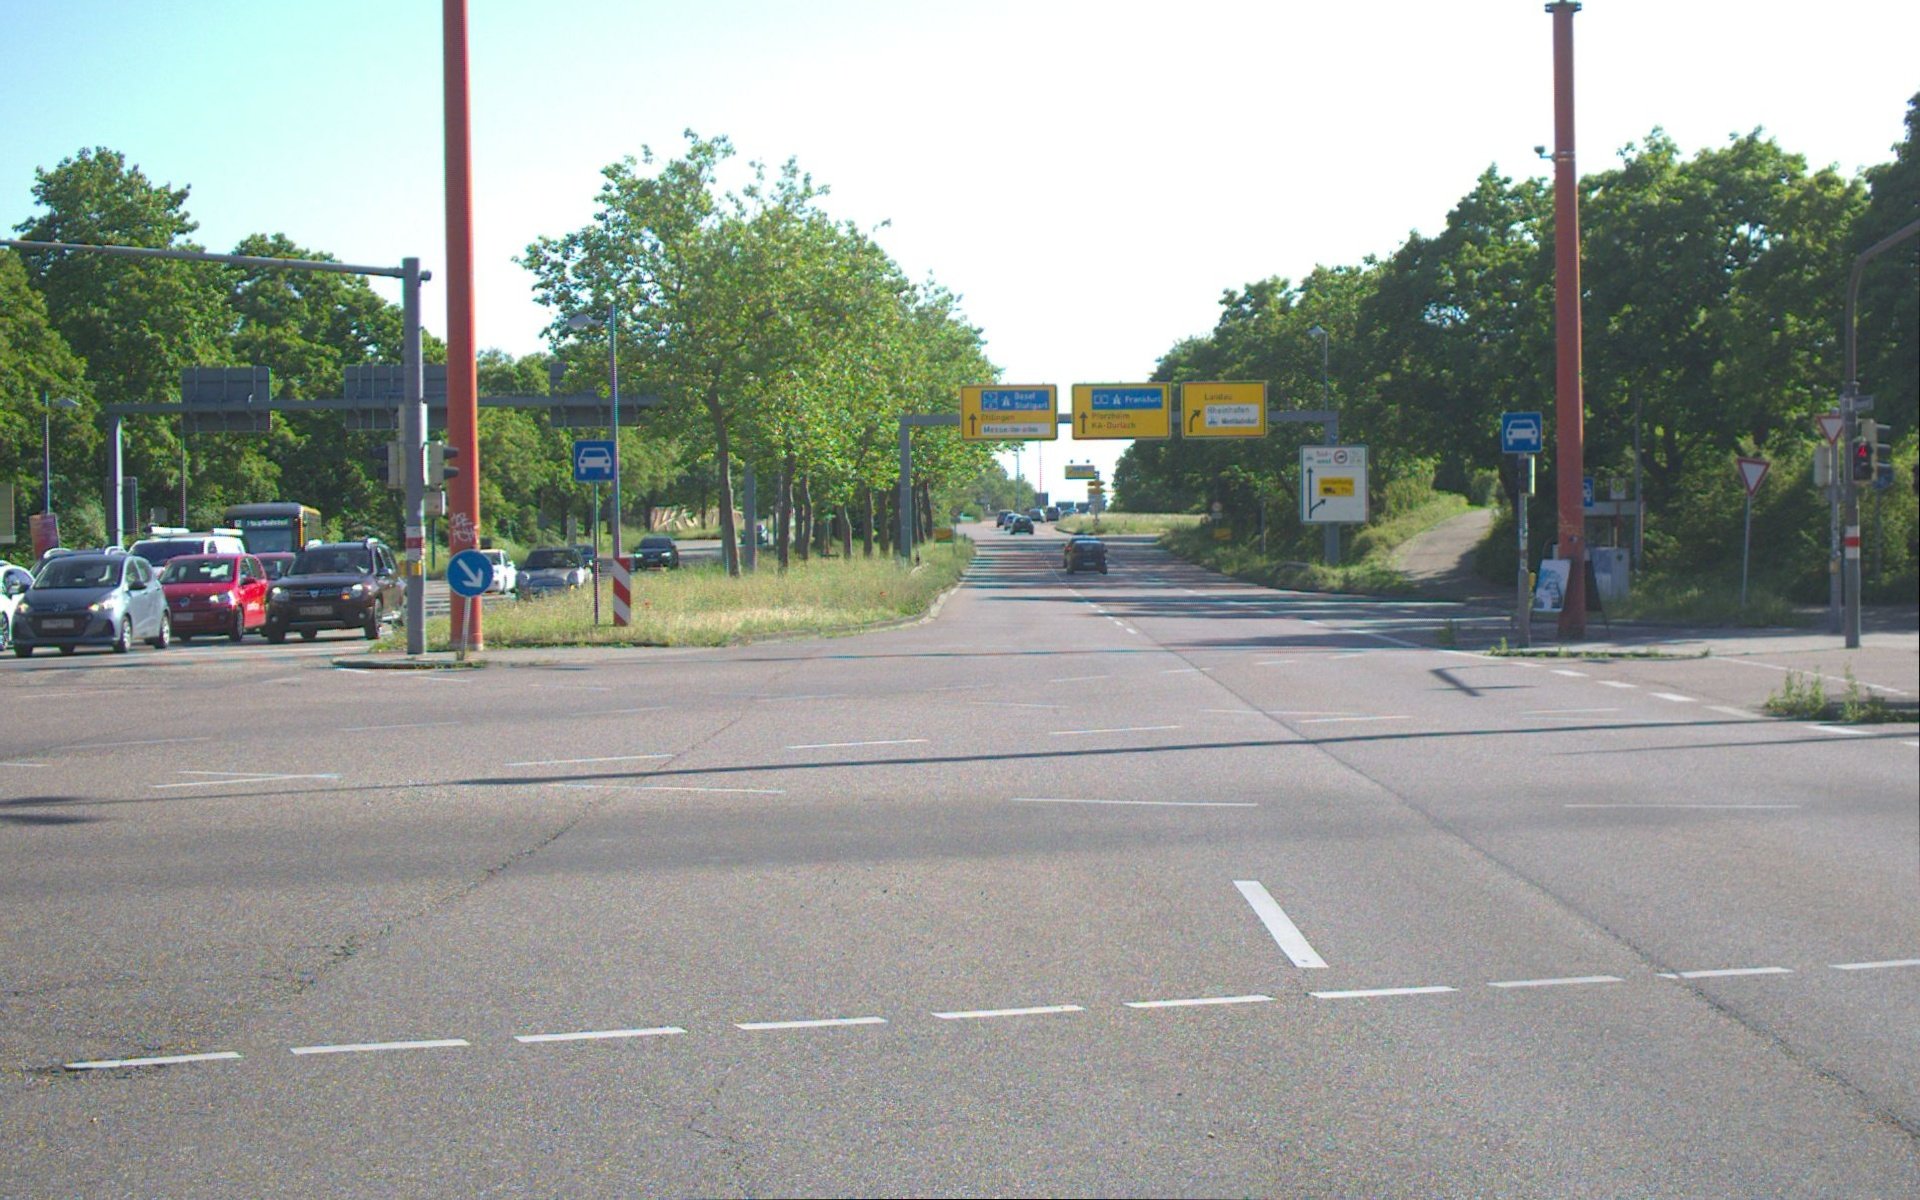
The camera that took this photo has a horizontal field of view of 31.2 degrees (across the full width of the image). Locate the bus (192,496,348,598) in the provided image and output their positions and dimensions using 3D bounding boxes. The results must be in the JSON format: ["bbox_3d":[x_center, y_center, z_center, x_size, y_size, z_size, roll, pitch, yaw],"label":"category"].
[{"bbox_3d":[-23.355,-1.755,117.087,2.646,3.250,12.536,1,1,1],"label":"bus"}]

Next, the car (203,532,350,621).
[{"bbox_3d":[-12.806,-0.454,64.618,1.901,1.624,4.000,0,1,1],"label":"car"}]

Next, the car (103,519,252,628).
[{"bbox_3d":[-16.068,-0.567,70.823,1.961,2.147,5.082,-1,1,-1],"label":"car"}]

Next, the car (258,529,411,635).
[{"bbox_3d":[-10.213,-0.328,56.359,1.793,1.620,4.144,-2,1,-1],"label":"car"}]

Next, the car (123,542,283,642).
[{"bbox_3d":[-12.867,-0.158,58.622,1.875,1.547,4.000,-4,1,-2],"label":"car"}]

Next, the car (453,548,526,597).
[{"bbox_3d":[-15.573,-0.934,113.966,1.885,1.538,4.000,-2,1,-1],"label":"car"}]

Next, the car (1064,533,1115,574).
[{"bbox_3d":[5.610,-2.005,149.298,1.993,1.727,4.000,1,1,-1],"label":"car"}]

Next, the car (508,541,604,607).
[{"bbox_3d":[-9.961,-0.661,84.963,1.885,1.538,4.000,-2,1,-1],"label":"car"}]

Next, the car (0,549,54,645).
[{"bbox_3d":[-16.533,-0.050,57.275,1.901,1.549,4.000,-2,1,-2],"label":"car"}]

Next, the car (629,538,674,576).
[{"bbox_3d":[-15.072,-2.107,168.056,1.837,1.831,3.961,0,1,-1],"label":"car"}]

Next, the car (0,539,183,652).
[{"bbox_3d":[-13.219,-0.099,52.284,1.874,1.545,4.028,-2,1,-1],"label":"car"}]
